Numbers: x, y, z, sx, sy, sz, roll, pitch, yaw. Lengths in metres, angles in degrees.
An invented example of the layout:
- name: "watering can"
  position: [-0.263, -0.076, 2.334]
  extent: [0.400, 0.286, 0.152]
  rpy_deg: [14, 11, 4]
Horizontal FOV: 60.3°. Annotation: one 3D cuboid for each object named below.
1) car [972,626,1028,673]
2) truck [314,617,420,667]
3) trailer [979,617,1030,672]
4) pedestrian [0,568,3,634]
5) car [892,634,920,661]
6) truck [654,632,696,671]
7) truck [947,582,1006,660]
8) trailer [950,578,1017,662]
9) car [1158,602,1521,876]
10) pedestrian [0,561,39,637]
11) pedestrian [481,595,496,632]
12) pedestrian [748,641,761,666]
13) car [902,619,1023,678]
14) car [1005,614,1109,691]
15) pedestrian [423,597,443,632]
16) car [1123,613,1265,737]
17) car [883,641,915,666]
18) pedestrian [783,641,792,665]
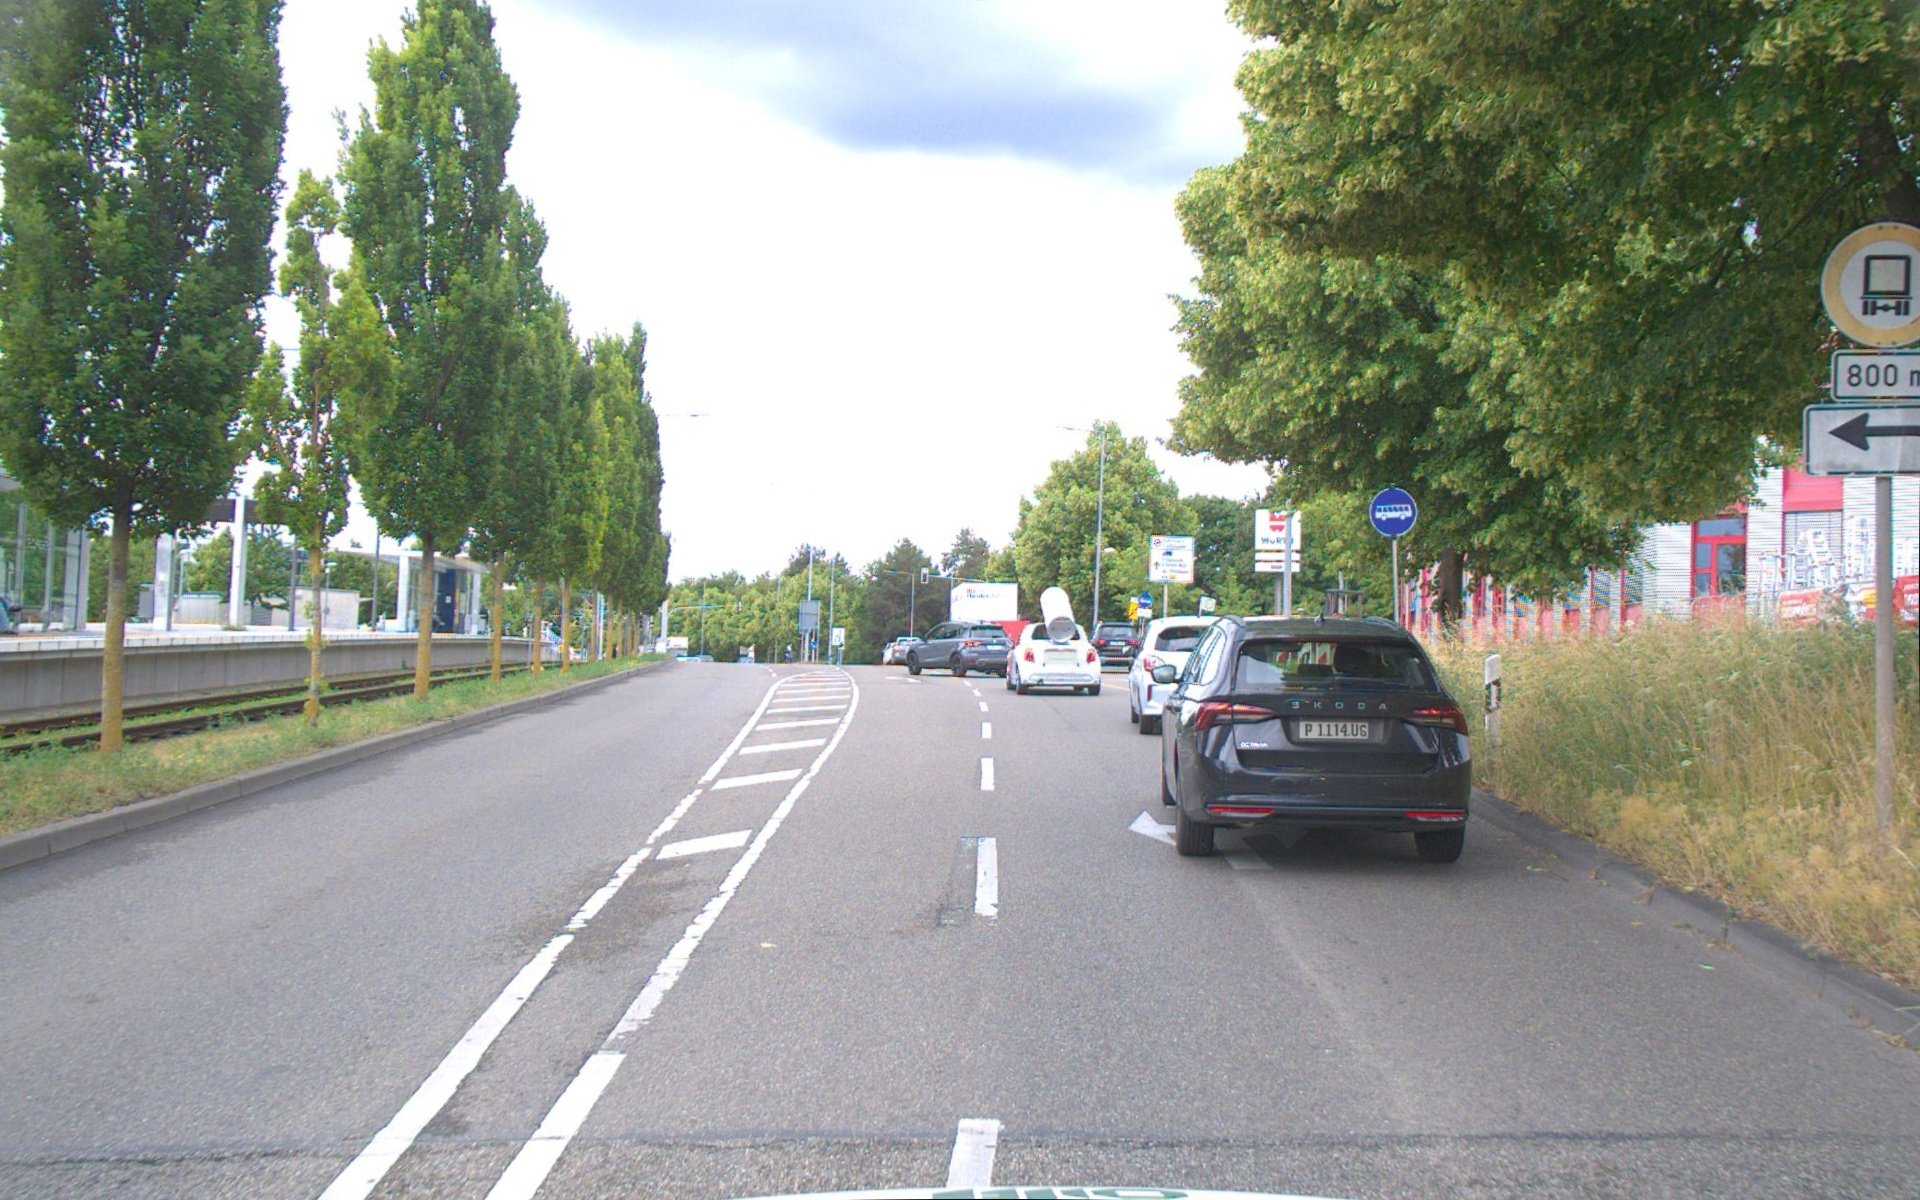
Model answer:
- name: "car"
  position: [1.261, 1.617, 54.324]
  extent: [1.637, 1.473, 4.487]
  rpy_deg: [1, -2, -1]
- name: "truck"
  position: [-45.397, 3.233, 126.794]
  extent: [7.092, 3.662, 2.691]
  rpy_deg: [1, 0, -1]
- name: "trailer"
  position: [1.326, 1.356, 50.431]
  extent: [1.380, 1.622, 3.302]
  rpy_deg: [1, -1, -1]
- name: "pedestrian"
  position: [-16.172, 0.015, 27.199]
  extent: [0.595, 1.098, 0.470]
  rpy_deg: [1, 0, -6]
- name: "car"
  position: [-2.934, 2.582, 90.528]
  extent: [1.494, 1.378, 3.489]
  rpy_deg: [1, 0, -2]
- name: "truck"
  position: [-29.283, 5.224, 169.624]
  extent: [2.619, 3.713, 9.451]
  rpy_deg: [3, -1, -19]
- name: "truck"
  position: [0.787, 1.067, 82.053]
  extent: [2.520, 3.771, 4.102]
  rpy_deg: [1, -2, -4]
- name: "trailer"
  position: [1.053, 0.987, 78.103]
  extent: [2.515, 3.771, 7.757]
  rpy_deg: [1, -1, -4]
- name: "car"
  position: [2.351, 0.769, 11.293]
  extent: [1.797, 1.457, 4.281]
  rpy_deg: [1, 0, 5]
- name: "pedestrian"
  position: [-15.400, -0.015, 26.662]
  extent: [0.746, 1.220, 0.664]
  rpy_deg: [1, -1, -6]
- name: "pedestrian"
  position: [-24.221, 0.695, 84.944]
  extent: [0.561, 1.860, 0.792]
  rpy_deg: [1, -3, -8]
- name: "pedestrian"
  position: [-13.626, 3.554, 109.832]
  extent: [0.847, 1.588, 0.517]
  rpy_deg: [1, 0, -7]
- name: "car"
  position: [0.023, 1.348, 46.818]
  extent: [1.680, 1.512, 3.961]
  rpy_deg: [2, 0, -29]
- name: "car"
  position: [1.966, 1.090, 34.420]
  extent: [1.684, 1.483, 3.693]
  rpy_deg: [1, -2, -4]
- name: "pedestrian"
  position: [-19.924, 0.539, 62.546]
  extent: [0.599, 1.291, 0.658]
  rpy_deg: [1, 0, -10]
- name: "car"
  position: [3.070, 0.937, 22.264]
  extent: [1.589, 1.483, 3.690]
  rpy_deg: [1, 0, 3]
- name: "car"
  position: [-3.693, 3.229, 99.778]
  extent: [1.688, 1.447, 4.351]
  rpy_deg: [1, -3, -5]
- name: "pedestrian"
  position: [-11.590, 3.568, 111.261]
  extent: [0.575, 1.650, 0.422]
  rpy_deg: [1, 0, -7]
